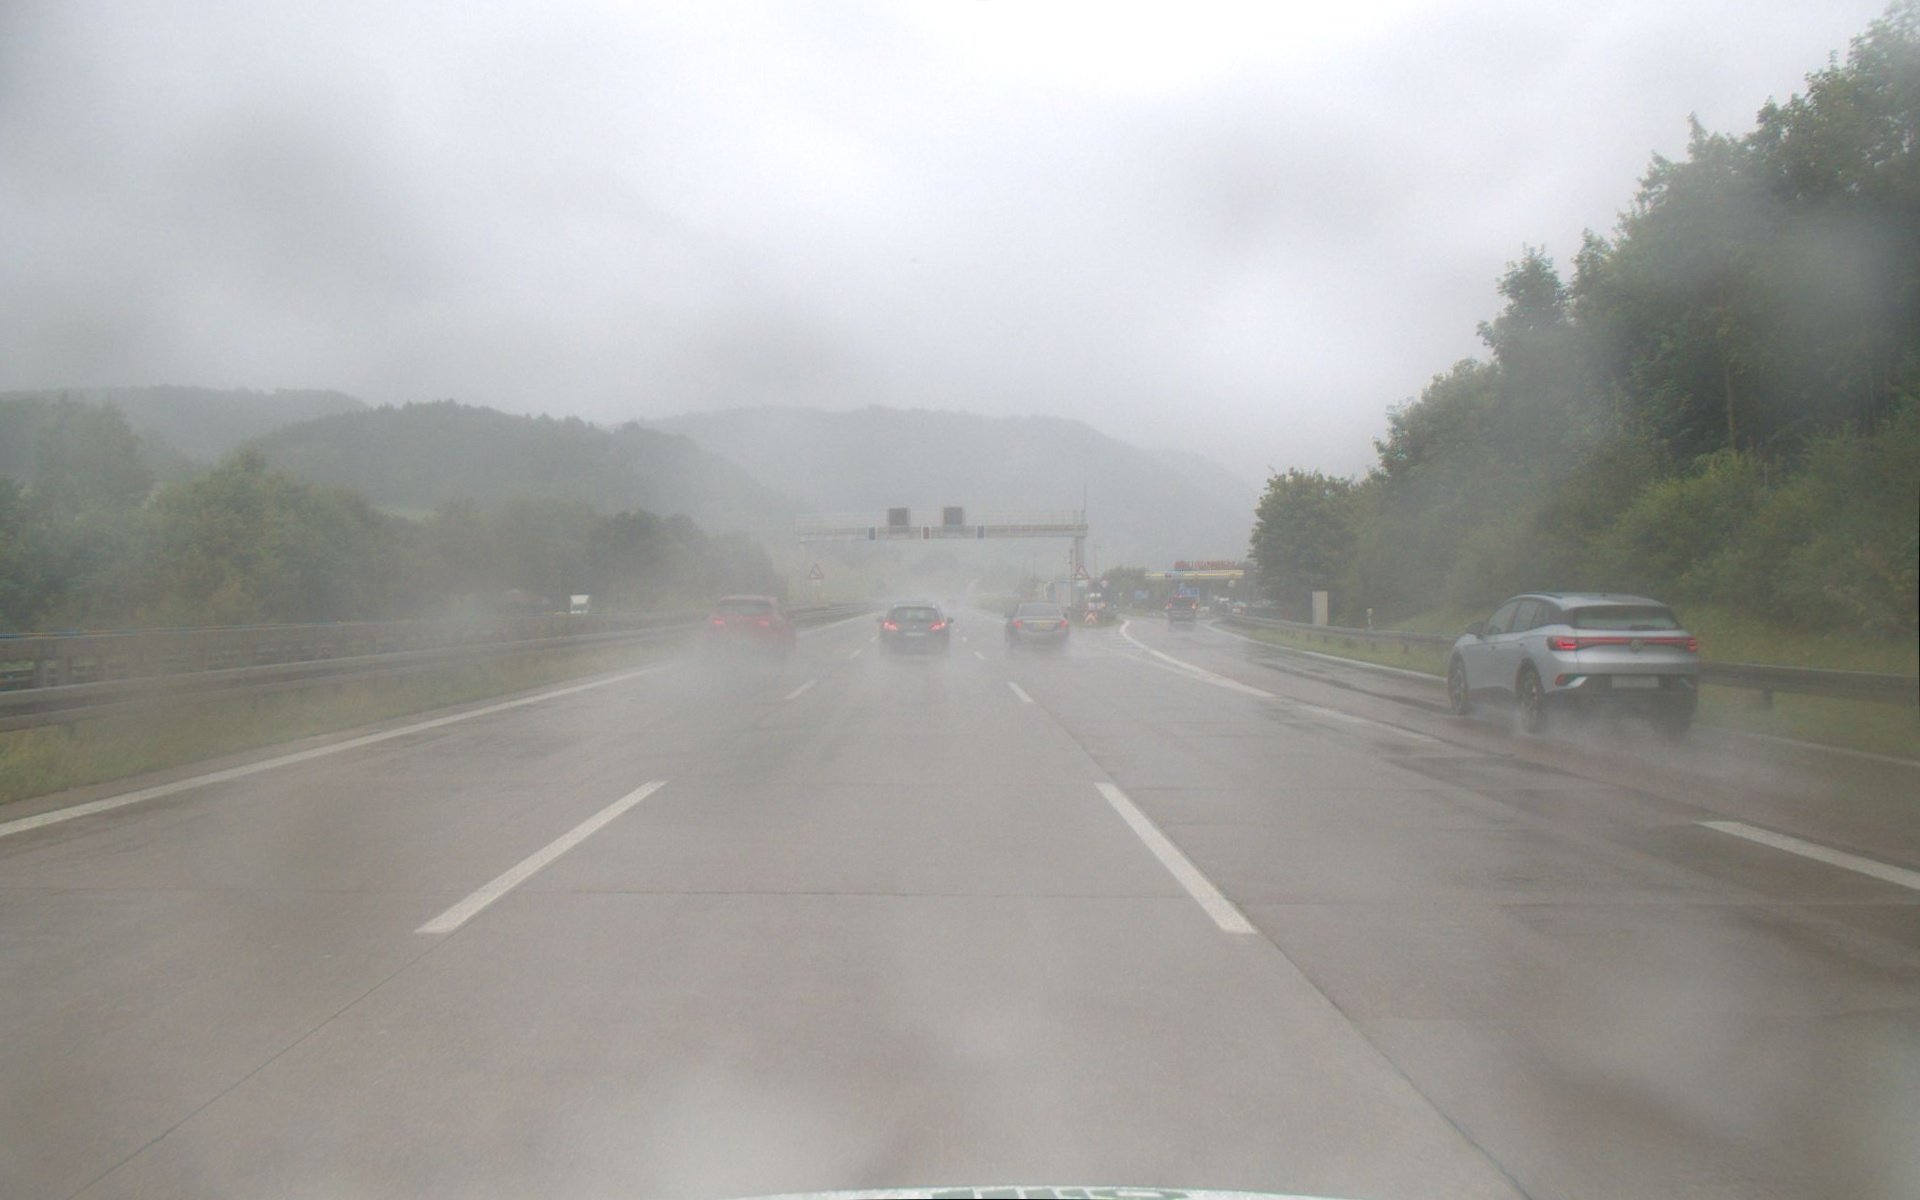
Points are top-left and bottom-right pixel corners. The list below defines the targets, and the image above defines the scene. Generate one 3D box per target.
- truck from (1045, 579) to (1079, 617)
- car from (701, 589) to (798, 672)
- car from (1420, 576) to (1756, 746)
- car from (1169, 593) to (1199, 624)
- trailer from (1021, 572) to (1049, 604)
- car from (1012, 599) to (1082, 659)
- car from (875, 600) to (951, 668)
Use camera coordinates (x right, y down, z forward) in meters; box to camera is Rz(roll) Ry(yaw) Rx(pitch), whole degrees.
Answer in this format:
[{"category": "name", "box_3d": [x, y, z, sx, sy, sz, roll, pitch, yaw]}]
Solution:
[{"category": "truck", "box_3d": [12.444, -0.278, 202.723, 3.332, 4.479, 11.047, 1, 0, -1]}, {"category": "car", "box_3d": [-4.881, 0.671, 38.766, 1.846, 1.847, 3.999, 0, 0, -2]}, {"category": "car", "box_3d": [7.476, 0.663, 20.447, 1.953, 1.781, 5.661, 1, 0, -1]}, {"category": "car", "box_3d": [15.384, 0.563, 113.890, 1.951, 2.049, 5.058, 0, 0, 7]}, {"category": "trailer", "box_3d": [10.478, -1.644, 232.976, 3.444, 4.336, 11.919, 1, 0, 0]}, {"category": "car", "box_3d": [2.654, 0.861, 51.441, 1.931, 1.791, 3.999, 0, 0, -1]}, {"category": "car", "box_3d": [-1.152, 0.822, 41.727, 1.822, 1.617, 3.999, 1, 0, -1]}]
